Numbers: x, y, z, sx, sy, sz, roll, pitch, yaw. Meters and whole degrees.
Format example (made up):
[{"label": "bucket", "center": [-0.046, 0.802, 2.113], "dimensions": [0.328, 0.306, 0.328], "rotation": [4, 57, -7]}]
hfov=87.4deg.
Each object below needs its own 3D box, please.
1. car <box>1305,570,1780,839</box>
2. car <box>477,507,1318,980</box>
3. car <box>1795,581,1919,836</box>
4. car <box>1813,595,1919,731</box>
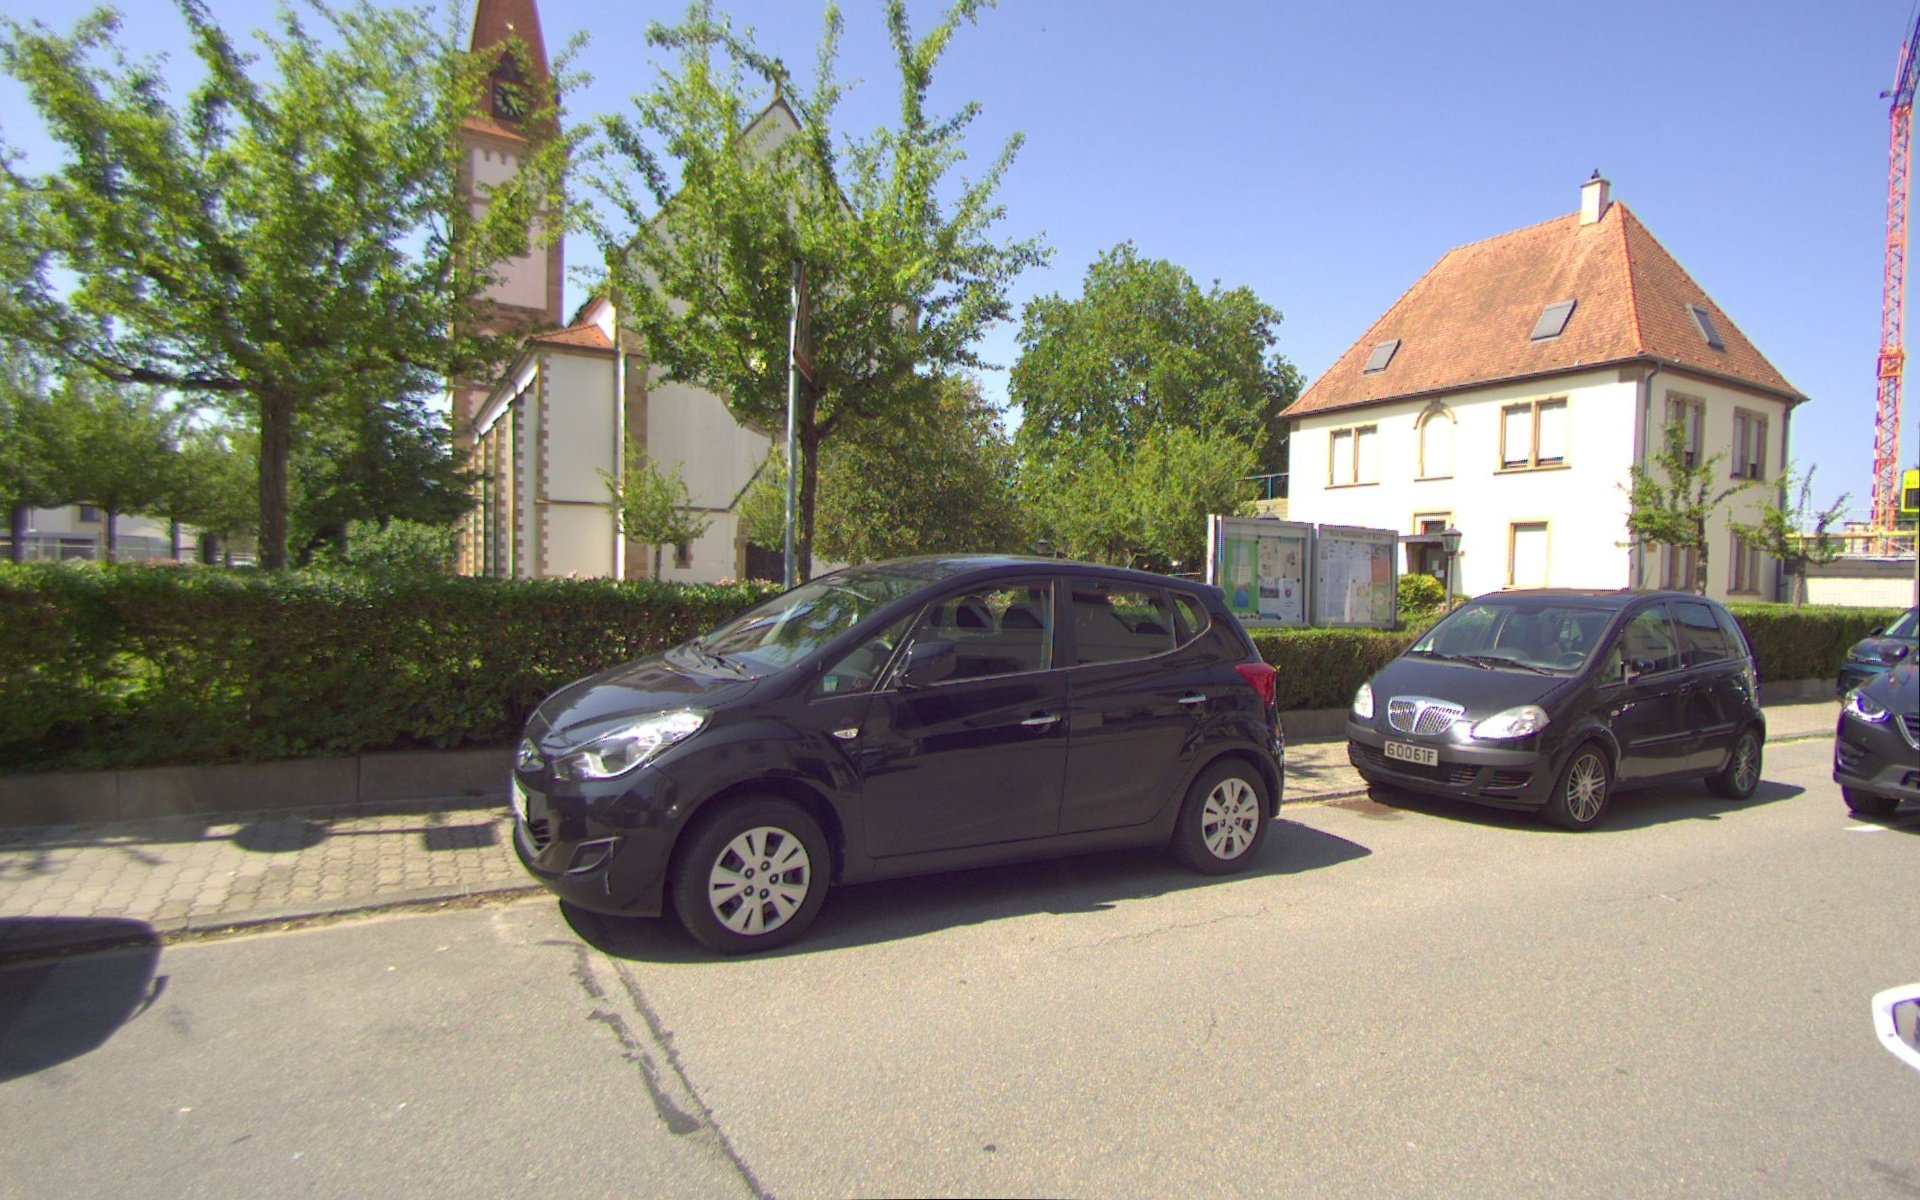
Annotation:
[{"label": "car", "center": [4.619, 0.643, 7.856], "dimensions": [3.726, 1.651, 1.629], "rotation": [1, 2, -32]}, {"label": "car", "center": [-0.246, 0.499, 5.228], "dimensions": [3.976, 1.626, 1.806], "rotation": [1, 1, -30]}, {"label": "car", "center": [8.271, 0.767, 7.560], "dimensions": [4.108, 1.691, 1.871], "rotation": [1, 1, -33]}, {"label": "car", "center": [13.631, 0.824, 13.711], "dimensions": [4.170, 1.652, 1.816], "rotation": [1, 1, -32]}]
